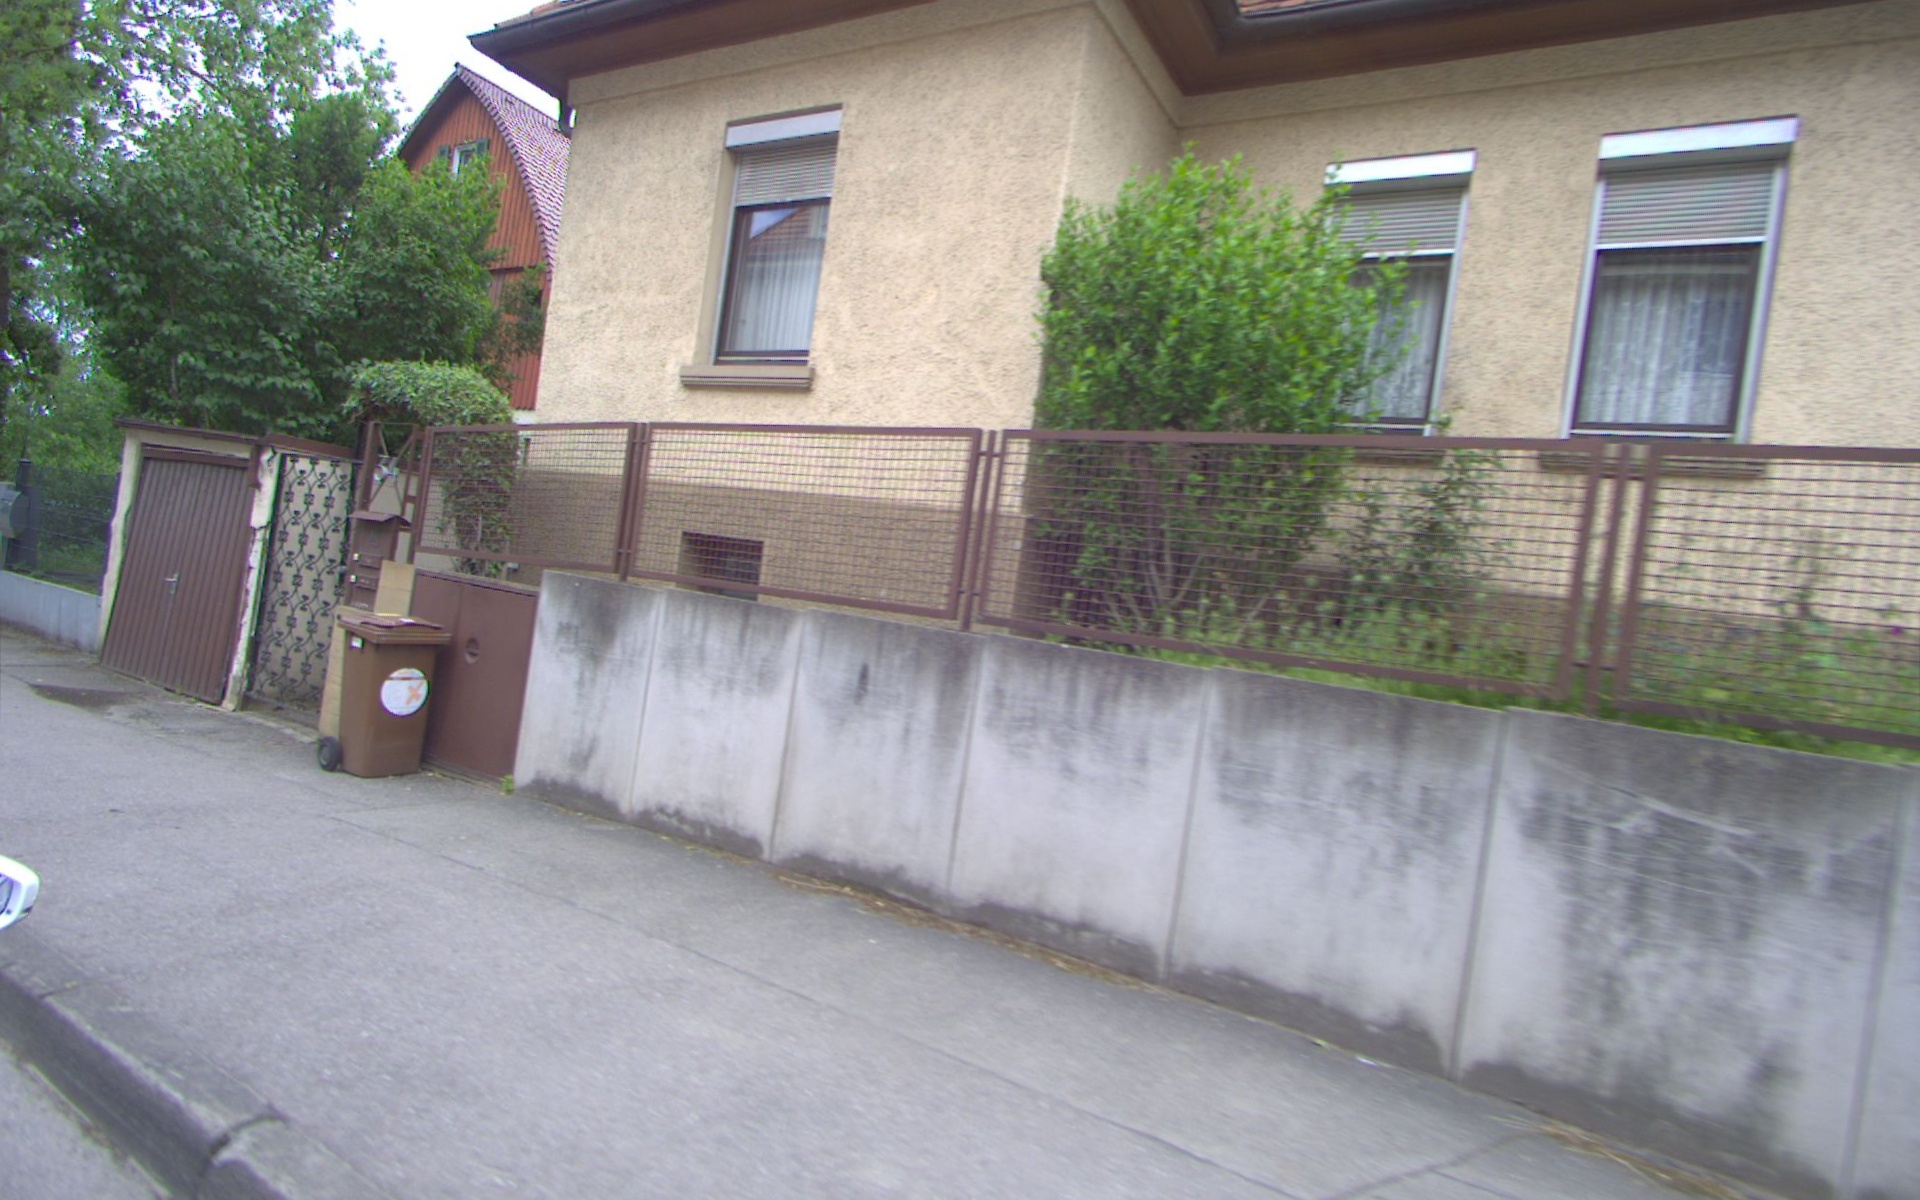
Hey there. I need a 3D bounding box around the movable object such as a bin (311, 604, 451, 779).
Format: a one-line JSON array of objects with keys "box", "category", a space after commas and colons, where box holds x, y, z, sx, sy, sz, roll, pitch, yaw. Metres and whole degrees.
[{"box": [-3.463, 0.525, 6.022, 0.556, 0.936, 0.461, 7, 3, 30], "category": "movable object such as a bin"}]

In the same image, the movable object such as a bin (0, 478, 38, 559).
[{"box": [-23.292, -2.052, 23.260, 2.168, 1.809, 2.109, 8, 1, 23], "category": "movable object such as a bin"}]
